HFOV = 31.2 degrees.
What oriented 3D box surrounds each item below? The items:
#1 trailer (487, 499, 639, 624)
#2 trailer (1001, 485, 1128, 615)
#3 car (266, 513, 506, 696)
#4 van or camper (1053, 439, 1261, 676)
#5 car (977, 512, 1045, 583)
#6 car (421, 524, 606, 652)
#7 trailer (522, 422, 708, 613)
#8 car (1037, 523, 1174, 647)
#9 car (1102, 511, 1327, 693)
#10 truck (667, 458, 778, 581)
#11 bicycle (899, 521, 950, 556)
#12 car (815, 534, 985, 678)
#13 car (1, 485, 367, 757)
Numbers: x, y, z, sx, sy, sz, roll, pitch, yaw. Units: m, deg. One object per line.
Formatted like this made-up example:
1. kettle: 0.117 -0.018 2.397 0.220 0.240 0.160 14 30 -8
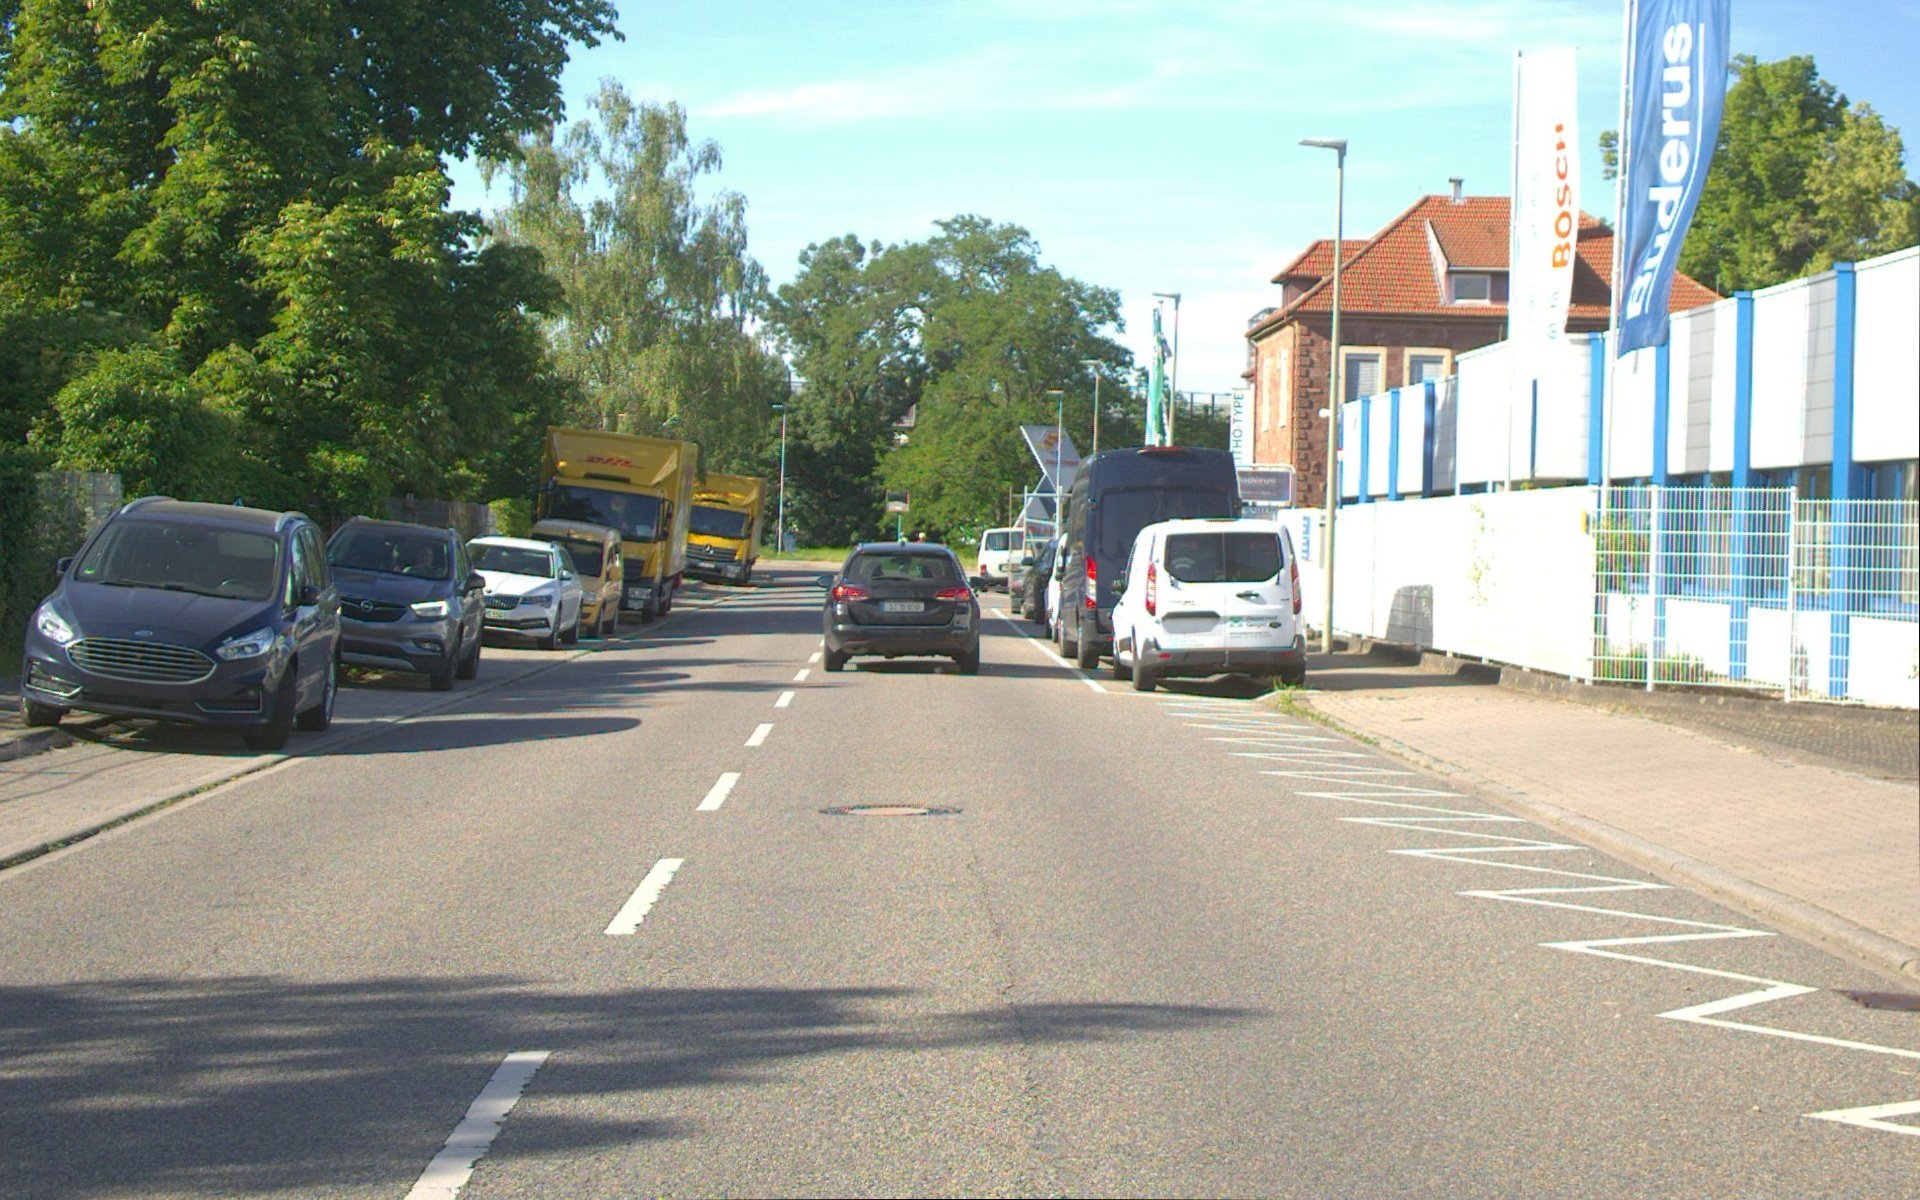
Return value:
1. trailer: -6.425 -0.640 56.098 1.993 1.935 4.415 1 1 -1
2. trailer: 2.219 -1.094 74.479 2.460 2.663 5.702 1 1 -1
3. car: -6.064 -0.011 36.806 1.908 1.657 4.464 5 1 -3
4. van or camper: 2.450 -0.552 44.457 2.141 2.750 6.162 3 1 -1
5. car: 1.514 -1.588 104.527 1.874 2.007 5.161 3 1 0
6. car: -6.447 -0.219 50.177 1.908 1.587 5.025 6 1 0
7. trailer: -6.609 -1.596 66.991 2.991 3.431 8.162 1 1 -2
8. car: 2.302 -0.274 55.700 1.855 1.824 5.168 3 1 -1
9. car: 2.735 -0.019 38.026 1.885 1.791 5.104 3 1 -2
10. truck: -7.567 -2.672 110.579 2.631 3.493 8.658 7 2 -1
11. bicycle: -1.406 -2.411 135.077 0.803 1.263 2.258 2 1 -35
12. car: -0.653 0.025 39.744 1.847 1.525 4.000 1 1 0
13. car: -5.737 0.084 26.001 1.791 1.725 4.803 5 1 -3
